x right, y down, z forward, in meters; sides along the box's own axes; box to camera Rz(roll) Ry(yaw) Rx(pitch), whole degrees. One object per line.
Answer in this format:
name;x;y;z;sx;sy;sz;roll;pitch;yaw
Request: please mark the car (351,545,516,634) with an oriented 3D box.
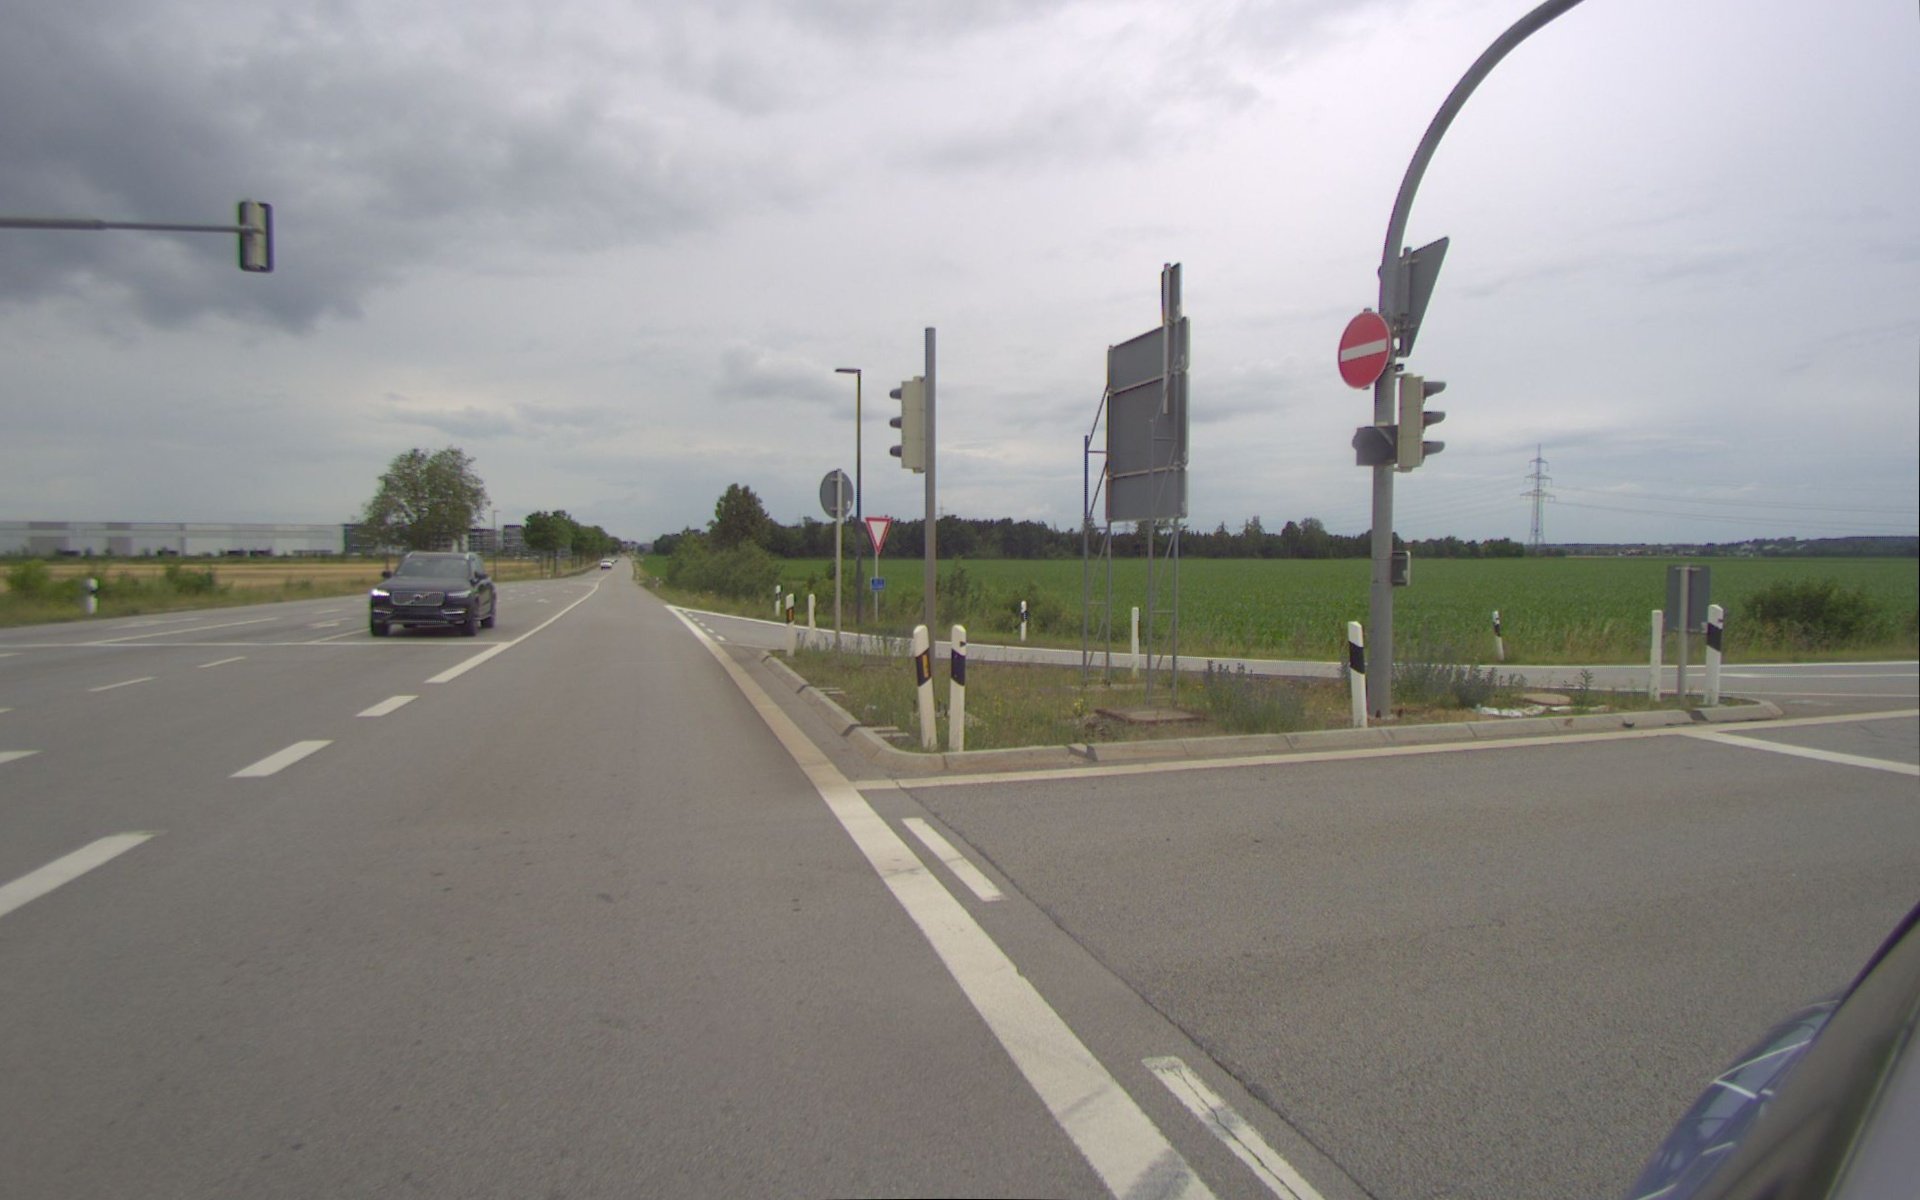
car;-11.234;-0.307;22.015;1.958;1.704;5.010;0;2;-13
